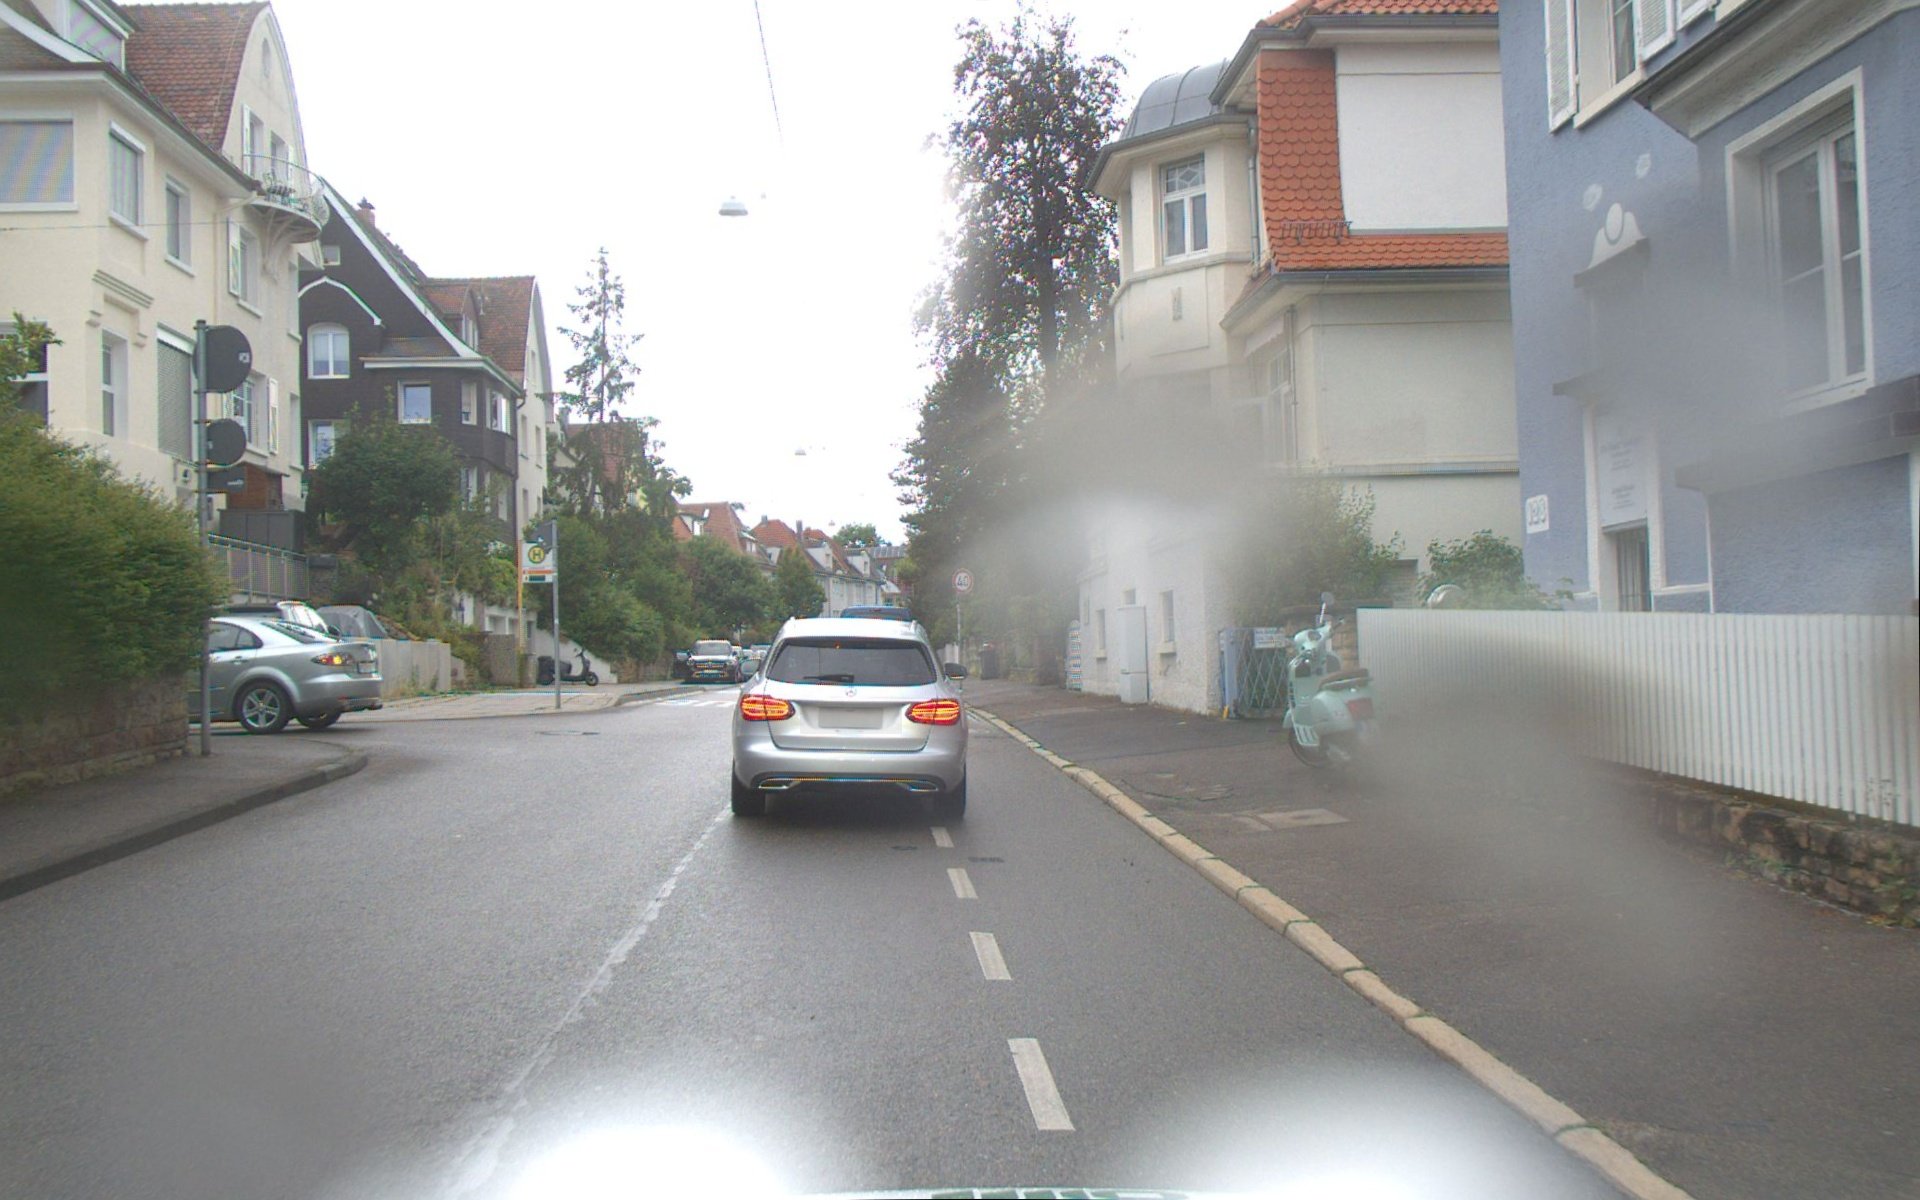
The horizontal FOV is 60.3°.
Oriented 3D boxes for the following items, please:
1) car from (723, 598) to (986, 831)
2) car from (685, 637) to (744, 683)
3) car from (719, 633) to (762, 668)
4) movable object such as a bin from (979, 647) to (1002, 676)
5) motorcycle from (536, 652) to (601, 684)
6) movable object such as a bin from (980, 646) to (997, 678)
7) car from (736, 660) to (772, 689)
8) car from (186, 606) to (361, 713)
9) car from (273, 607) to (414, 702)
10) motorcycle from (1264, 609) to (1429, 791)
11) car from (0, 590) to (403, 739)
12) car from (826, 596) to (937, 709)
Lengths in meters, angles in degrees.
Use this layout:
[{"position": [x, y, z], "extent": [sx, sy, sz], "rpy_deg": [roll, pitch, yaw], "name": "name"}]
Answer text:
[{"position": [-0.827, 0.802, 13.270], "extent": [1.780, 1.584, 3.997], "rpy_deg": [0, -1, -3], "name": "car"}, {"position": [-9.093, 2.230, 61.533], "extent": [1.856, 1.651, 4.374], "rpy_deg": [0, -2, -4], "name": "car"}, {"position": [-10.058, 2.291, 76.035], "extent": [1.721, 1.472, 4.412], "rpy_deg": [0, -1, -4], "name": "car"}, {"position": [0.920, 1.881, 50.504], "extent": [0.638, 0.871, 0.502], "rpy_deg": [0, -1, -6], "name": "movable object such as a bin"}, {"position": [-11.659, 2.034, 49.276], "extent": [1.759, 0.919, 0.603], "rpy_deg": [1, -3, -5], "name": "motorcycle"}, {"position": [0.875, 1.921, 51.155], "extent": [0.484, 0.972, 0.502], "rpy_deg": [0, -1, -6], "name": "movable object such as a bin"}, {"position": [-10.909, 3.962, 87.730], "extent": [1.660, 1.472, 3.810], "rpy_deg": [-1, -3, -3], "name": "car"}, {"position": [-11.386, 0.944, 27.704], "extent": [1.732, 1.646, 3.993], "rpy_deg": [0, -1, -8], "name": "car"}, {"position": [-12.033, 1.026, 32.521], "extent": [1.732, 1.726, 3.993], "rpy_deg": [0, -1, -8], "name": "car"}, {"position": [3.019, 0.739, 13.146], "extent": [0.679, 1.246, 2.153], "rpy_deg": [-7, -1, 0], "name": "motorcycle"}, {"position": [-9.283, 0.774, 20.245], "extent": [4.281, 1.584, 1.820], "rpy_deg": [2, -1, -6], "name": "car"}, {"position": [-1.385, 1.016, 30.555], "extent": [1.805, 1.937, 3.999], "rpy_deg": [0, -3, 0], "name": "car"}]
